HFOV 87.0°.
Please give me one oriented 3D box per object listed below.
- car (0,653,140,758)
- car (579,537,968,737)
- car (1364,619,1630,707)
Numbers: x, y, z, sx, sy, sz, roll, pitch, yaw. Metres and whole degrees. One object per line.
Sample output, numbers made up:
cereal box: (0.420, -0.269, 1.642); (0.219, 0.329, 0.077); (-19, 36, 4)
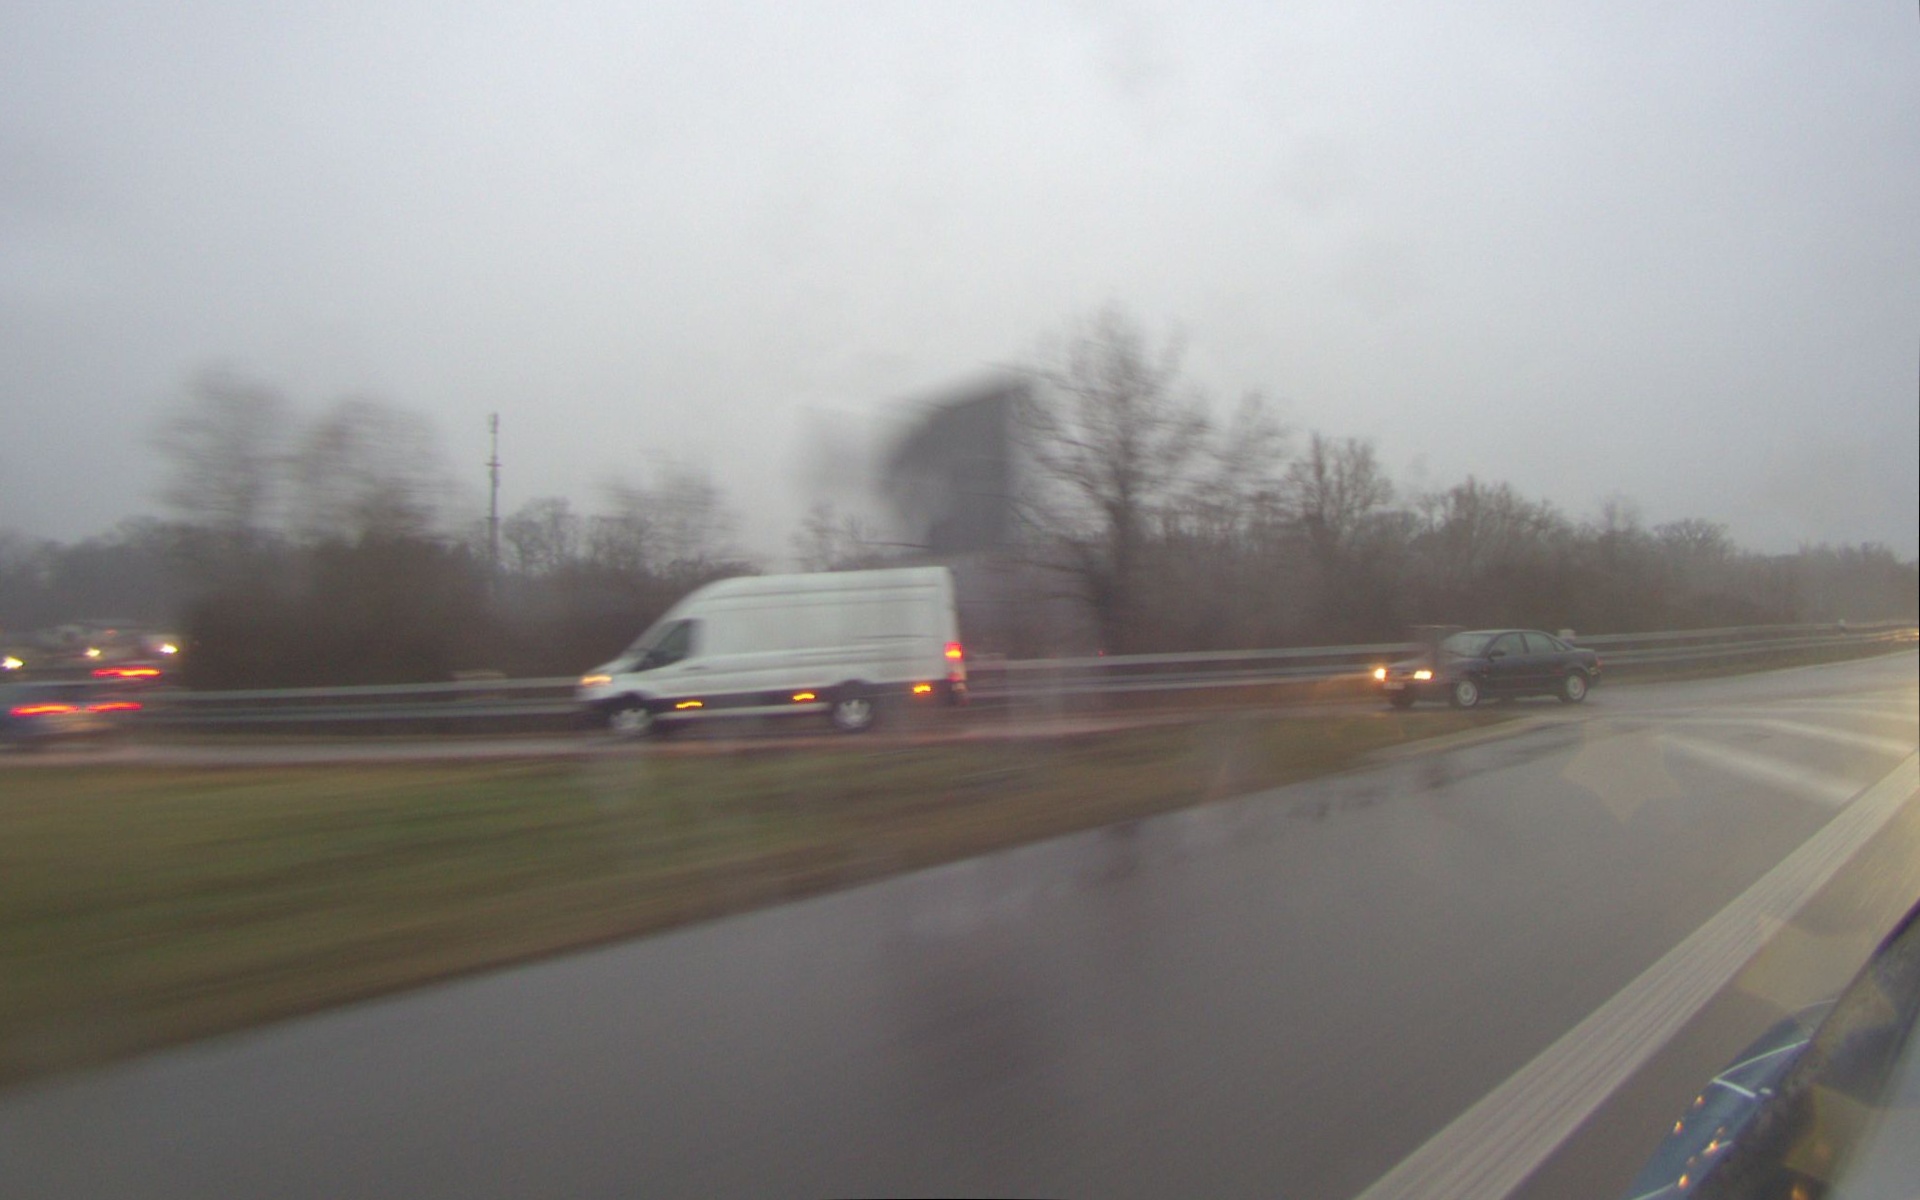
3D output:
car: (-19.912, 2.167, 21.448); (4.853, 1.960, 1.983); (-2, -2, 24)
car: (-3.075, 0.711, 17.626); (6.269, 3.006, 2.287); (-2, -6, 0)
car: (9.878, 1.121, 18.681); (4.285, 1.433, 1.745); (-1, -3, -17)
